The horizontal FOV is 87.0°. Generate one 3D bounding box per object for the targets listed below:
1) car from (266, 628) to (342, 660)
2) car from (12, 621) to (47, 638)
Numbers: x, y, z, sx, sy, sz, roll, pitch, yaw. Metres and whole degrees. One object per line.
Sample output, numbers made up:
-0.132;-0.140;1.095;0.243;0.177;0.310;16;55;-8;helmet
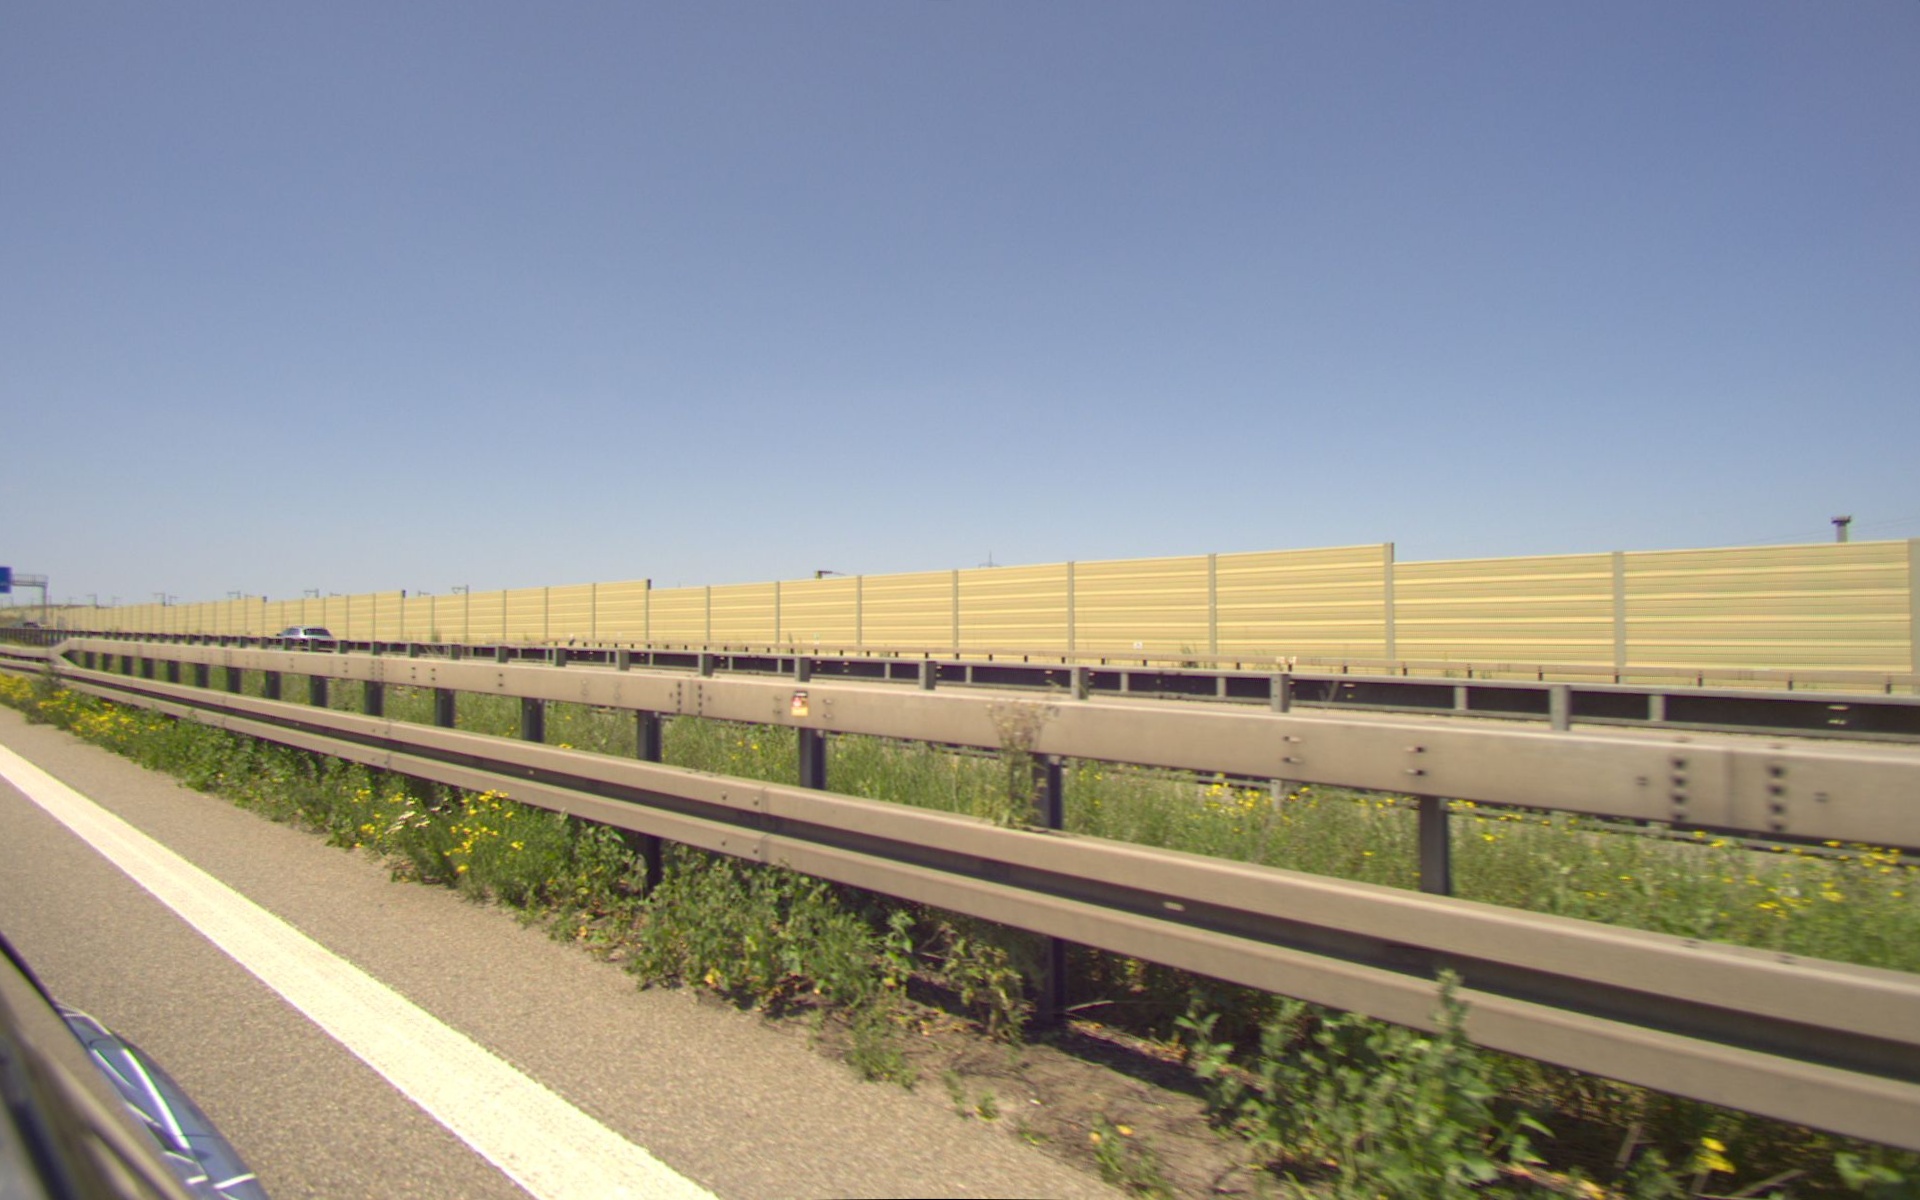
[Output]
-33.220;2.188;51.195;4.810;1.475;1.973;-1;-2;41;car
-93.393;2.965;101.577;5.243;1.582;1.877;-1;-3;40;car
